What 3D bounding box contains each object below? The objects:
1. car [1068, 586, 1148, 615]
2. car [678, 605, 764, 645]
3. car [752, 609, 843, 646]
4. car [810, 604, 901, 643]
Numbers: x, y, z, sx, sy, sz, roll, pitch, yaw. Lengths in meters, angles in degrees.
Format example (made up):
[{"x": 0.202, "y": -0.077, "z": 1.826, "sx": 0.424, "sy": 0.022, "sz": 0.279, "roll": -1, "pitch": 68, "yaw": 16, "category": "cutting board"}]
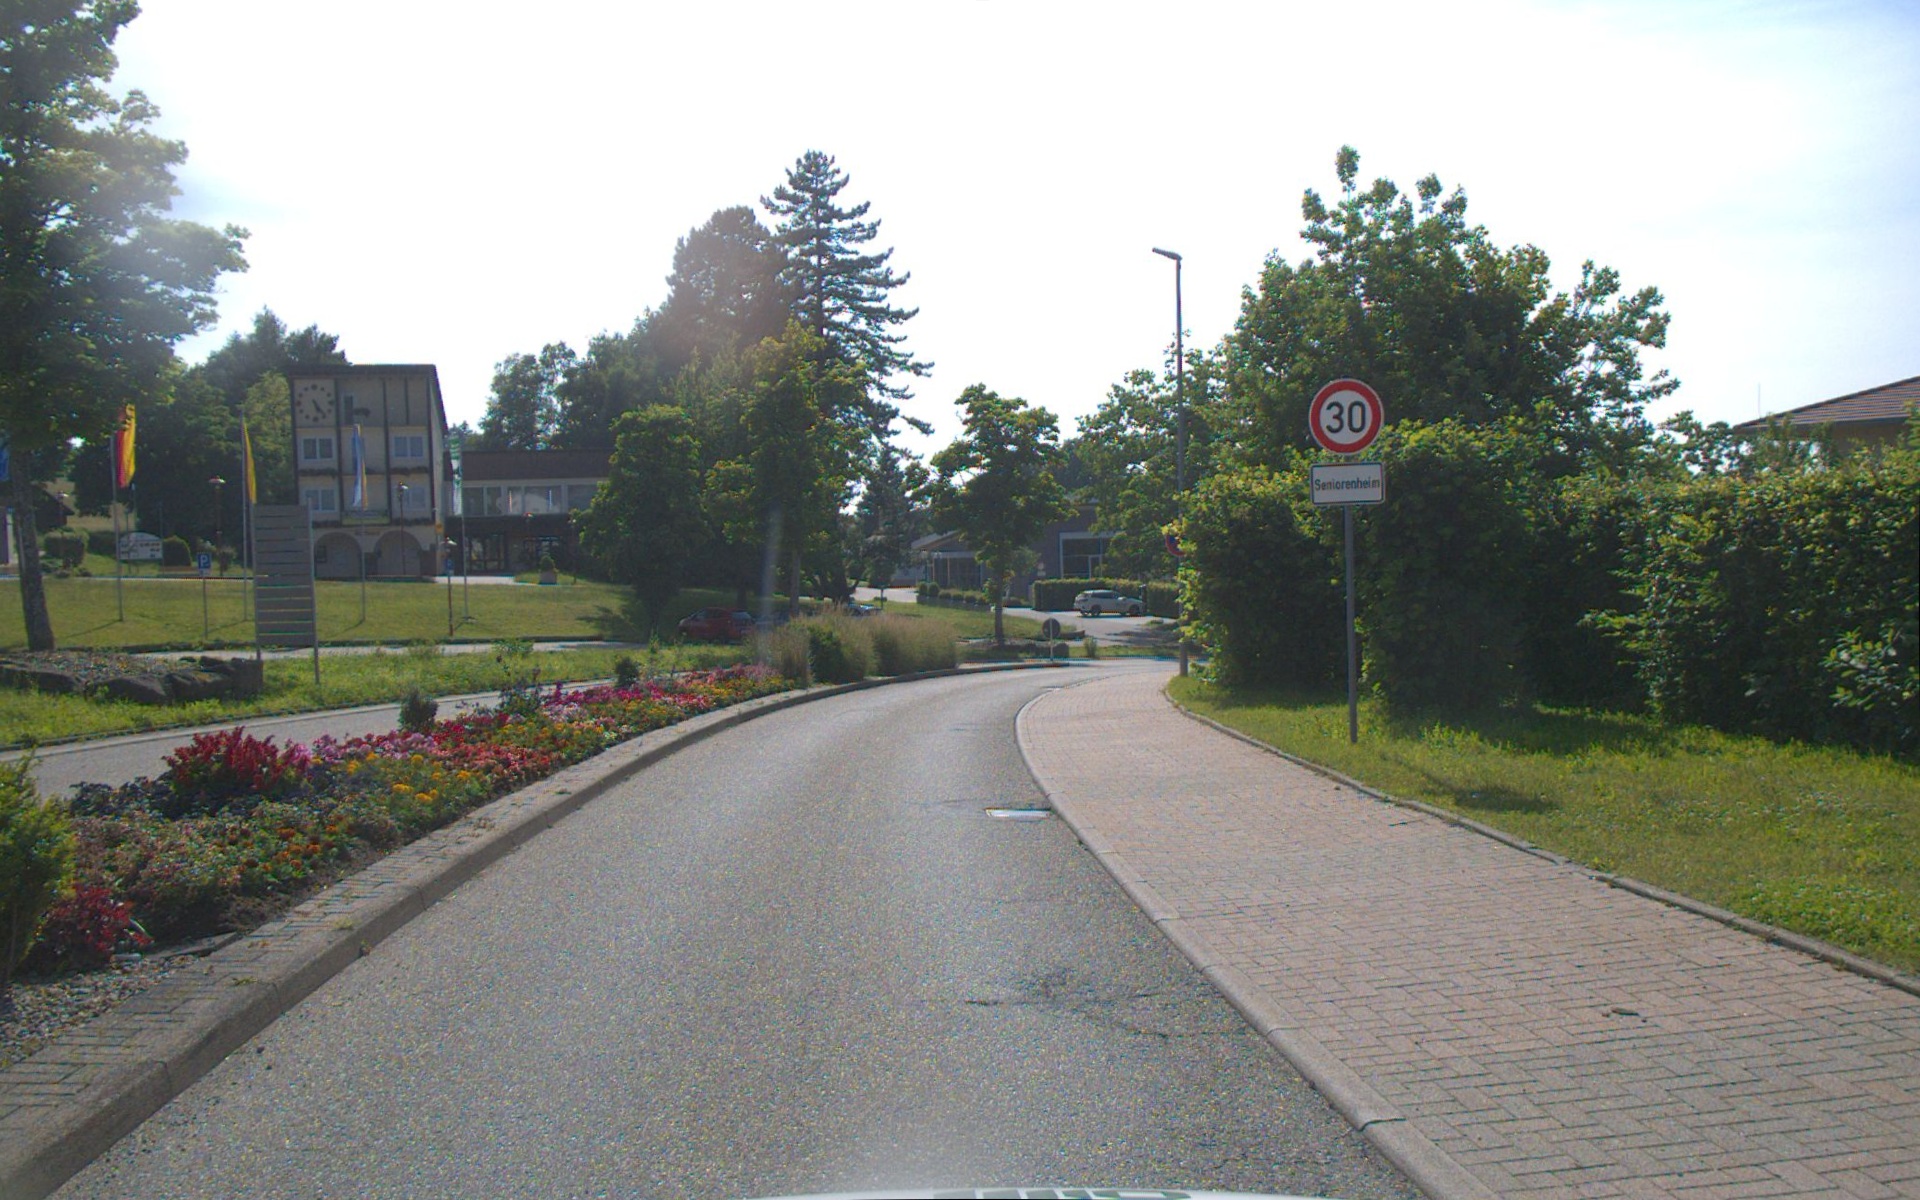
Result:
[{"x": 9.236, "y": 0.021, "z": 103.310, "sx": 4.644, "sy": 1.560, "sz": 1.990, "roll": -2, "pitch": 5, "yaw": -19, "category": "car"}, {"x": -9.834, "y": 1.014, "z": 67.986, "sx": 3.145, "sy": 1.496, "sz": 1.769, "roll": 2, "pitch": 0, "yaw": 37, "category": "car"}, {"x": -6.928, "y": 1.155, "z": 70.402, "sx": 3.643, "sy": 1.458, "sz": 1.768, "roll": 2, "pitch": 0, "yaw": 39, "category": "car"}, {"x": -4.670, "y": 1.036, "z": 73.604, "sx": 3.866, "sy": 1.637, "sz": 1.768, "roll": 2, "pitch": 0, "yaw": 38, "category": "car"}]
